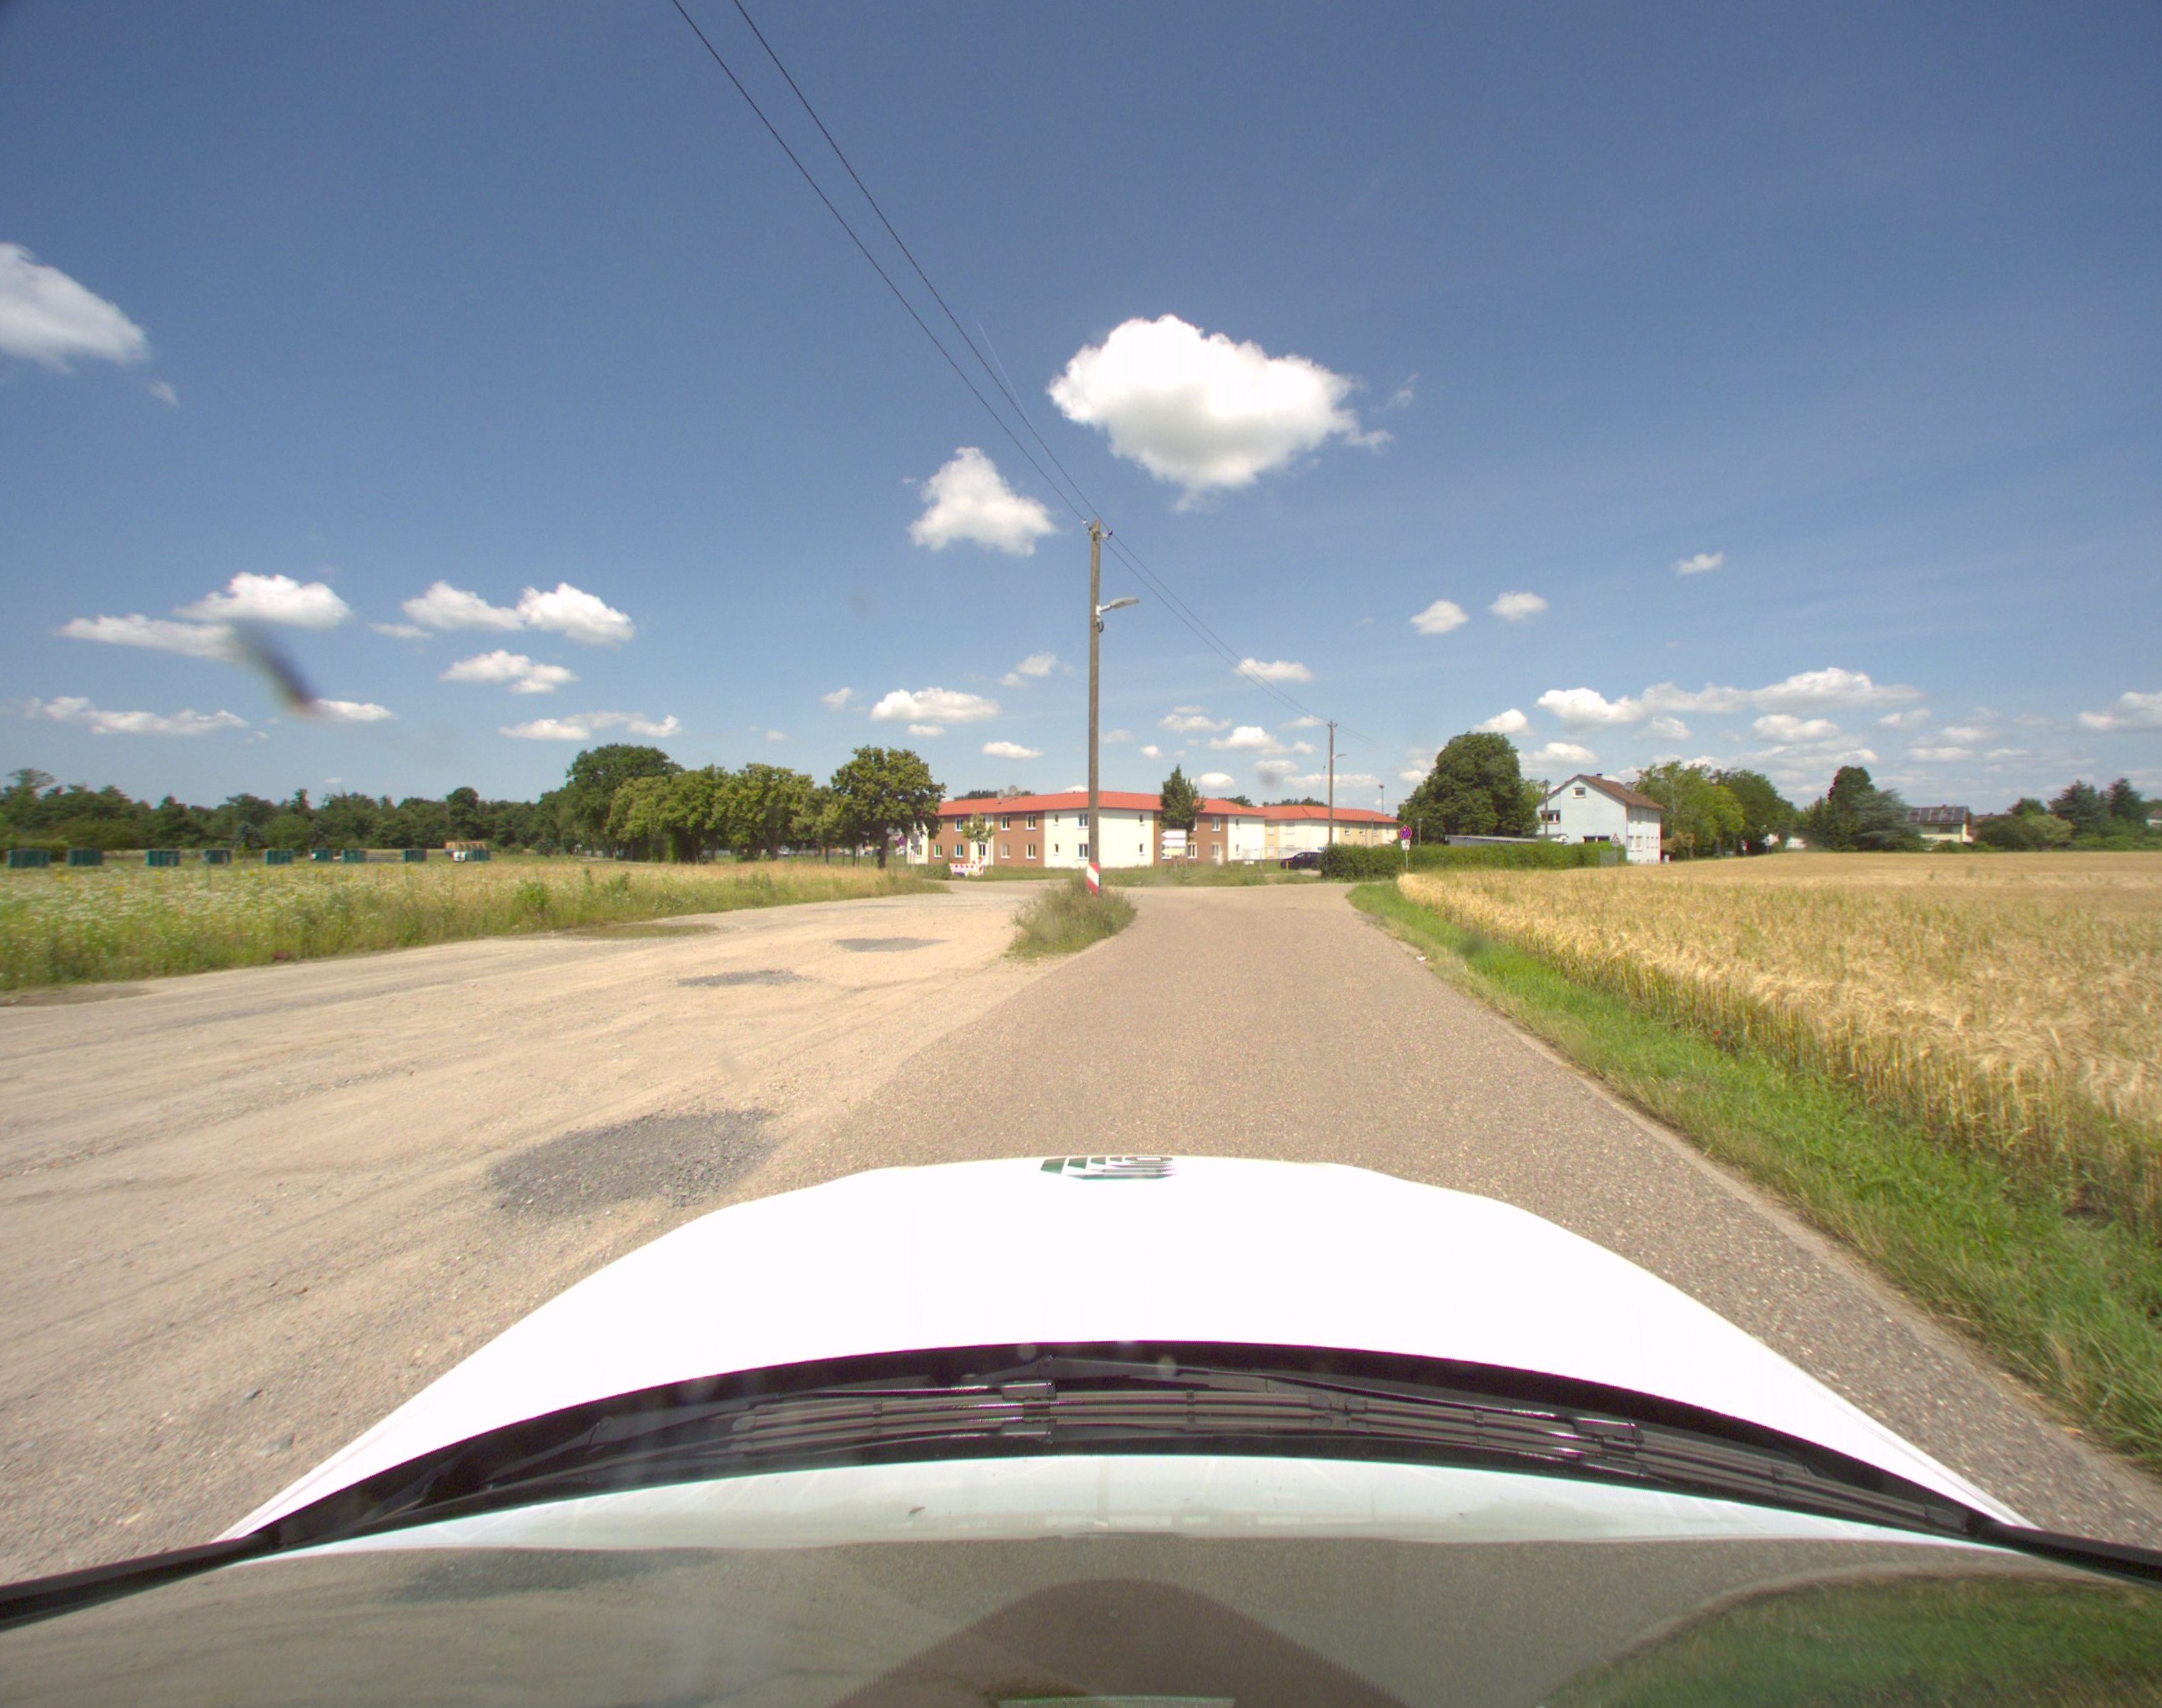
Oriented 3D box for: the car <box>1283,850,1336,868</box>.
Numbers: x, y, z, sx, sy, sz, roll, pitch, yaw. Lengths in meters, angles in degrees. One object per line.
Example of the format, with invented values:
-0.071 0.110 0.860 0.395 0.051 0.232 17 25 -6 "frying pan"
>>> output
20.348 0.417 72.604 4.097 1.615 2.012 0 0 45 "car"
